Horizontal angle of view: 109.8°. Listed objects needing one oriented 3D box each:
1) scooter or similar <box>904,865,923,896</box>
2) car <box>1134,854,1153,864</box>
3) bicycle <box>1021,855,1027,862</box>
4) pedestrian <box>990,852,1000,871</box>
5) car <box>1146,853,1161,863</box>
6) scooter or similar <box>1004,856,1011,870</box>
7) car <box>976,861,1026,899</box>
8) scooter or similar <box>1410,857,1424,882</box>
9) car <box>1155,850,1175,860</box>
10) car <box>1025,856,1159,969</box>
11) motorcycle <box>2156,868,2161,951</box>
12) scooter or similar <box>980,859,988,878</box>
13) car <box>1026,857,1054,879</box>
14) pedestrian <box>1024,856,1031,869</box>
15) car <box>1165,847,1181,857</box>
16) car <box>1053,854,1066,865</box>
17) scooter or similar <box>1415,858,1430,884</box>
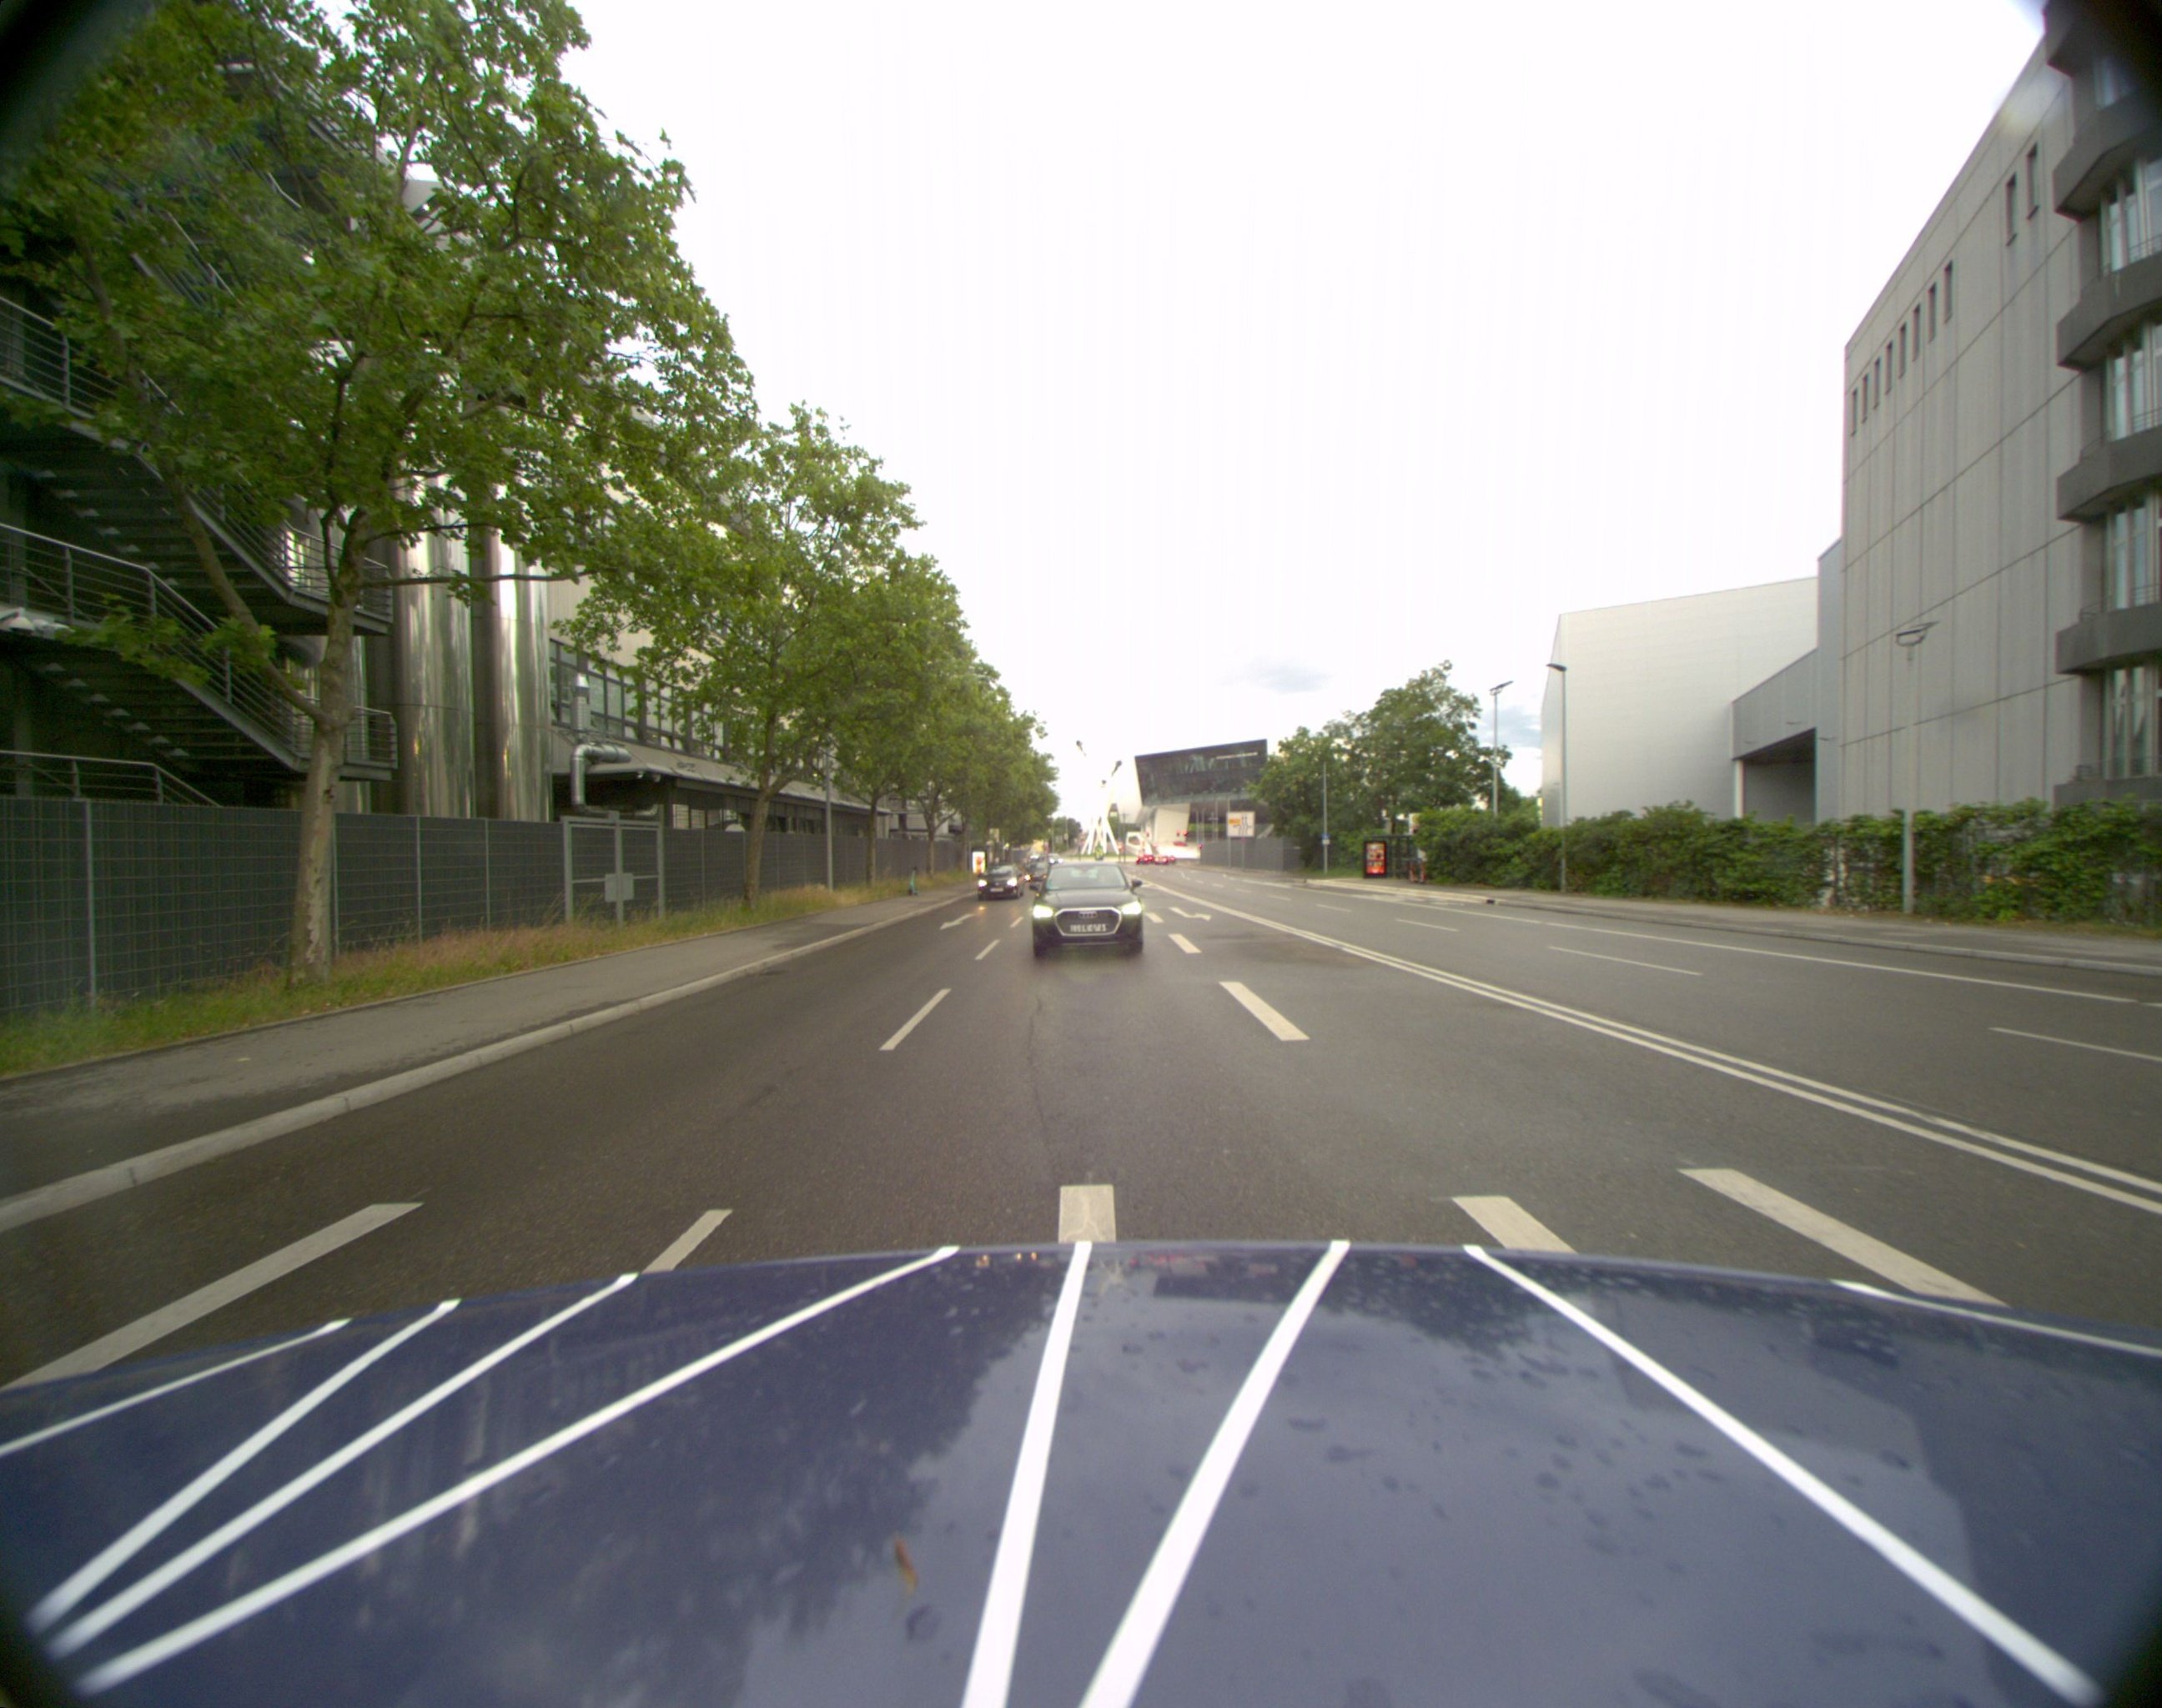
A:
[{"bbox_3d":[-6.935,1.092,31.470,0.329,1.262,1.109,-1,1,9],"label":"scooter or similar"},{"bbox_3d":[10.057,0.793,121.595,2.255,1.469,3.884,-1,1,18],"label":"car"},{"bbox_3d":[-8.024,0.662,107.091,0.727,0.870,1.904,-2,1,-1],"label":"bicycle"},{"bbox_3d":[-7.583,0.669,66.851,0.778,1.700,0.729,-1,1,0],"label":"pedestrian"},{"bbox_3d":[12.141,0.652,126.715,1.878,1.641,3.857,-1,0,16],"label":"car"},{"bbox_3d":[-7.006,0.885,72.691,0.437,1.288,1.300,-1,1,3],"label":"scooter or similar"},{"bbox_3d":[-3.336,1.060,32.316,1.881,1.485,4.075,0,0,-3],"label":"car"},{"bbox_3d":[16.538,0.753,37.390,0.389,1.173,1.251,-1,1,14],"label":"scooter or similar"},{"bbox_3d":[13.242,0.110,119.751,2.267,1.469,4.052,-1,1,18],"label":"car"},{"bbox_3d":[0.110,0.886,14.072,1.951,1.609,5.276,-2,0,-1],"label":"car"},{"bbox_3d":[16.667,0.831,10.425,0.786,1.243,2.157,-1,0,0],"label":"motorcycle"},{"bbox_3d":[-6.896,1.020,54.127,0.329,1.301,1.246,-1,1,5],"label":"scooter or similar"},{"bbox_3d":[-2.924,0.961,54.983,1.842,1.444,4.785,-2,0,-1],"label":"car"},{"bbox_3d":[-6.649,1.012,94.697,0.723,1.610,0.833,1,1,-1],"label":"pedestrian"},{"bbox_3d":[15.397,-0.325,126.562,1.862,1.641,3.792,-1,0,19],"label":"car"},{"bbox_3d":[-3.186,0.856,113.177,1.951,1.610,4.072,0,0,-1],"label":"car"},{"bbox_3d":[16.183,0.785,36.012,0.379,1.174,1.379,-1,1,14],"label":"scooter or similar"}]
